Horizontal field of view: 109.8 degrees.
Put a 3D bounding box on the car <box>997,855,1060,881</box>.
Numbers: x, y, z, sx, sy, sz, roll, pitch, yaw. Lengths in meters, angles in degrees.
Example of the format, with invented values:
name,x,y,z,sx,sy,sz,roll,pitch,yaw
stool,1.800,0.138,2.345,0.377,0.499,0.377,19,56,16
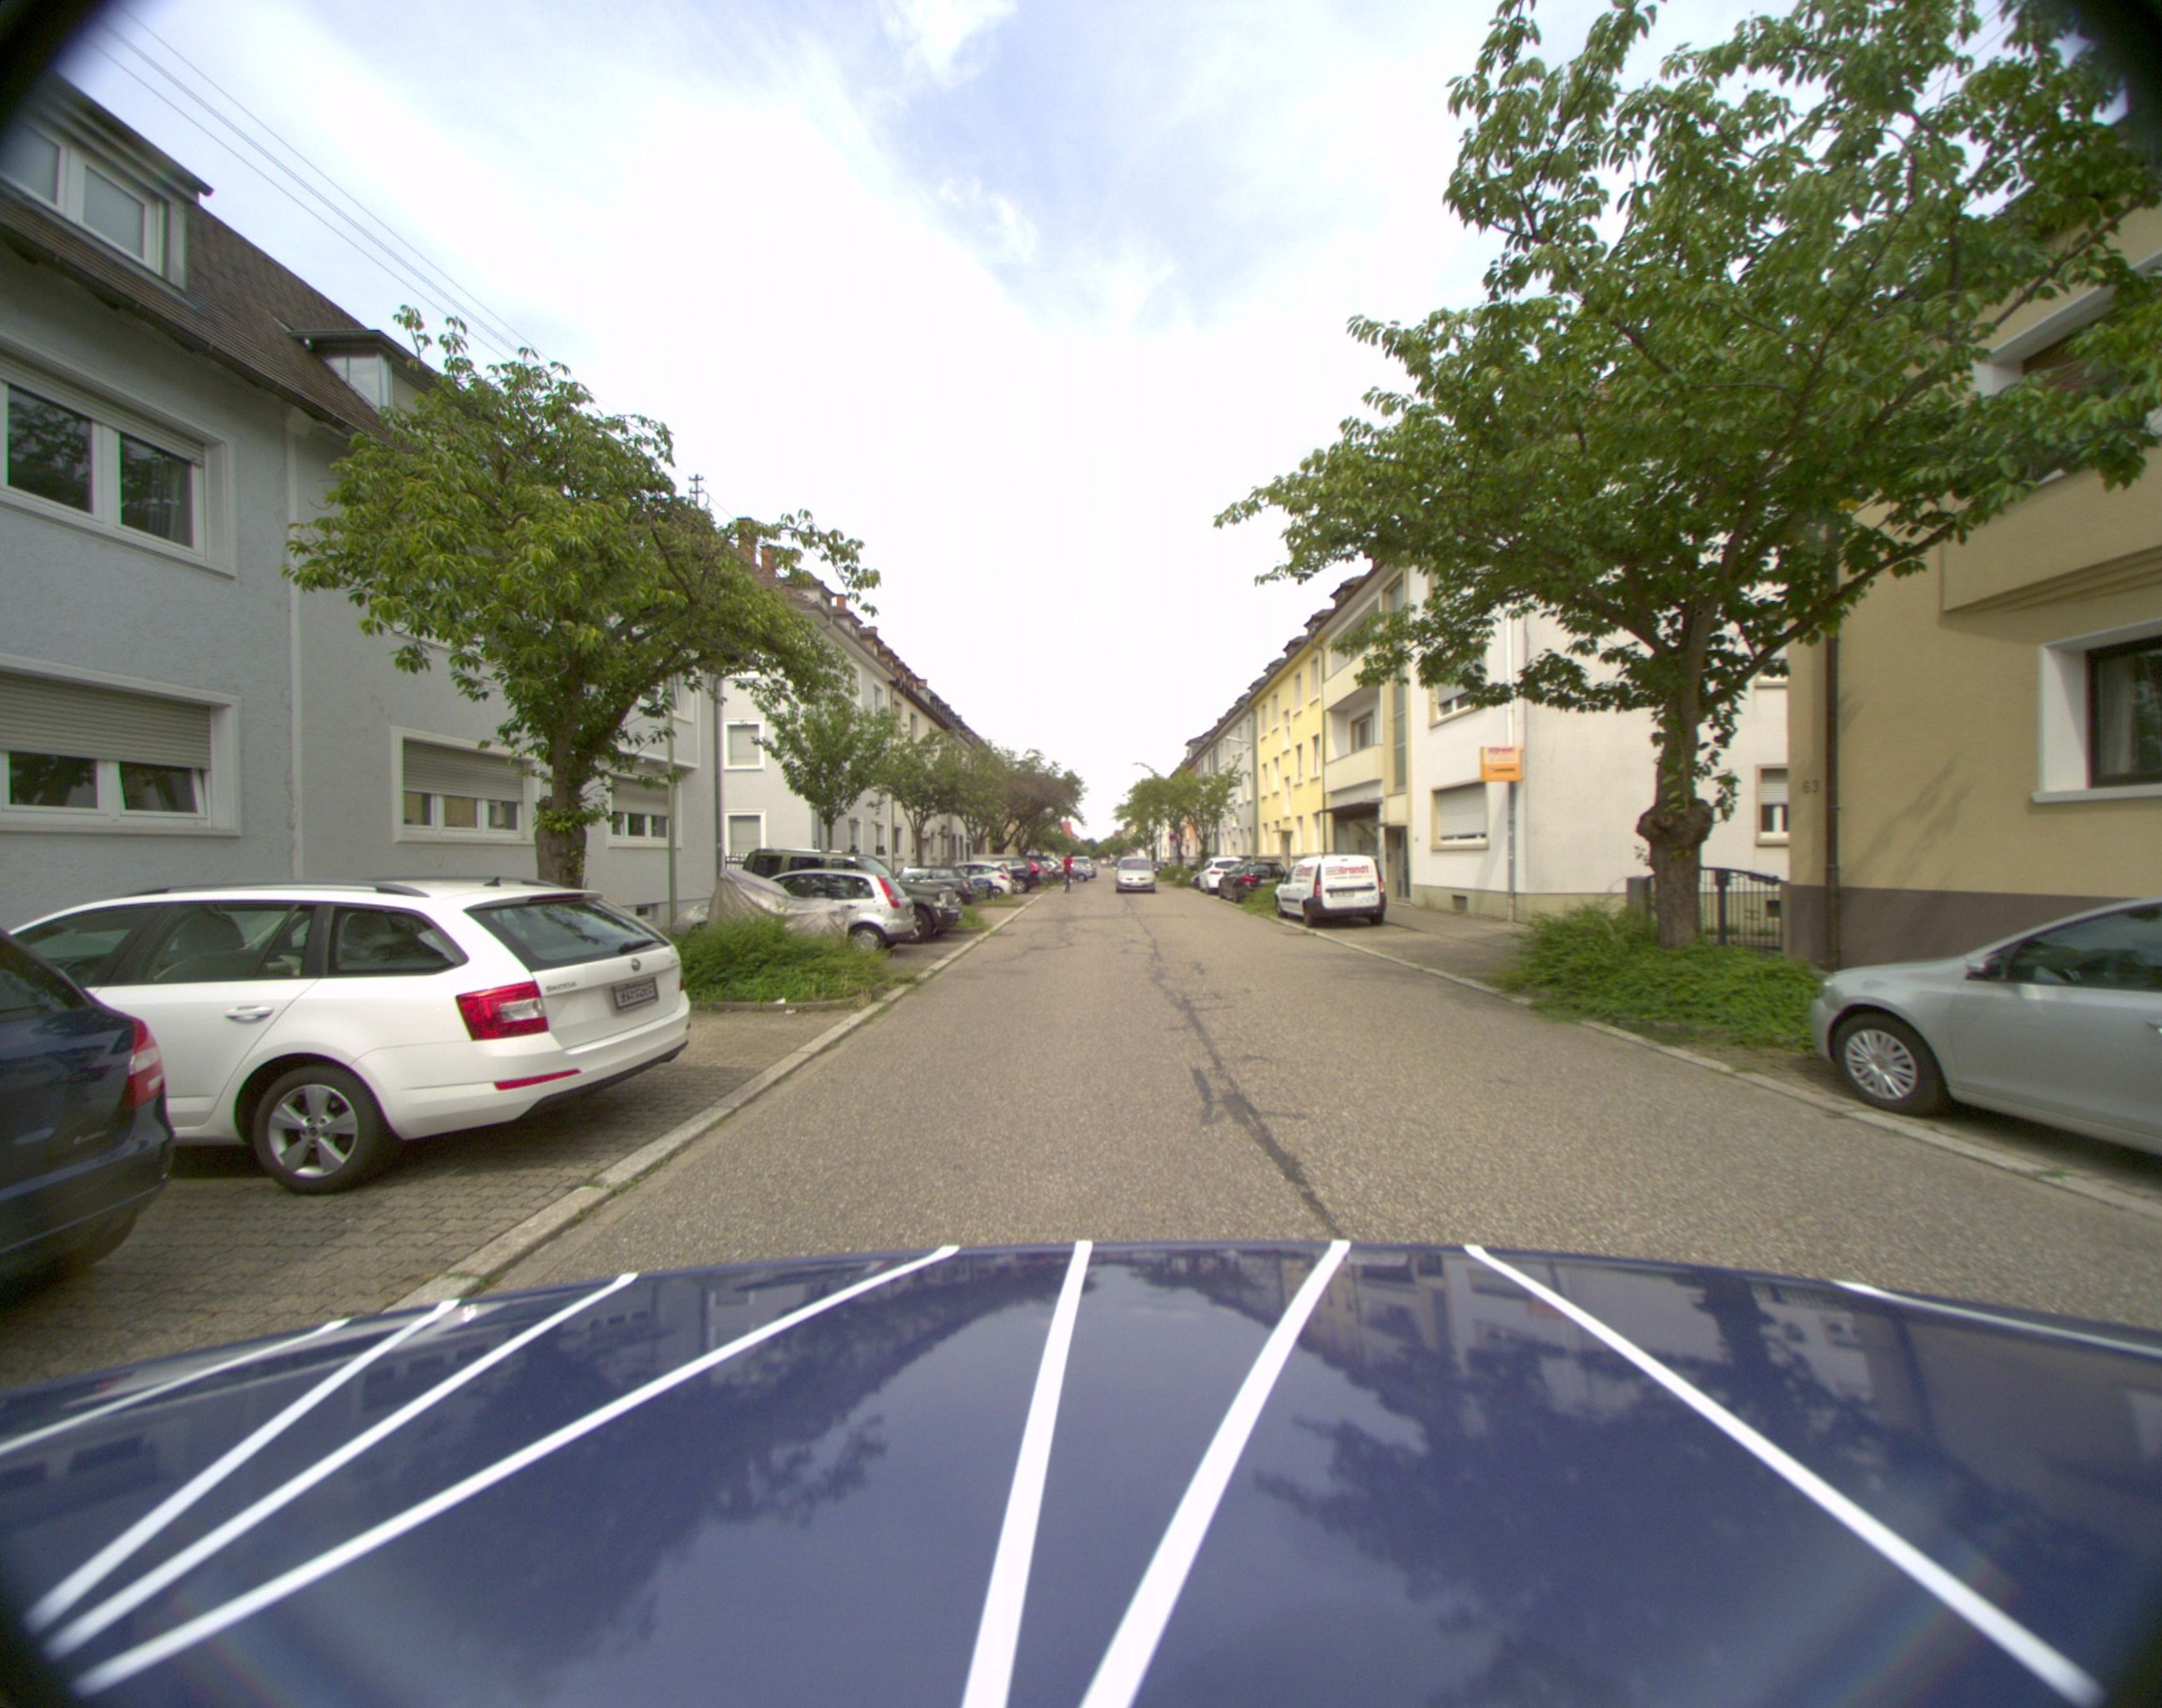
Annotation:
name,x,y,z,sx,sy,sz,roll,pitch,yaw
car,-3.678,0.979,53.700,4.224,1.668,1.904,1,0,4

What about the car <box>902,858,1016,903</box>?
name,x,y,z,sx,sy,sz,roll,pitch,yaw
car,-4.522,0.970,28.660,3.997,1.521,1.768,1,0,-2

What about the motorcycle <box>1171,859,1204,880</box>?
name,x,y,z,sx,sy,sz,roll,pitch,yaw
motorcycle,6.293,0.900,44.863,1.914,1.185,0.595,1,1,-25

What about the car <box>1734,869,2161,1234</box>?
name,x,y,z,sx,sy,sz,roll,pitch,yaw
car,5.582,0.894,3.318,1.776,1.384,4.275,-6,0,2

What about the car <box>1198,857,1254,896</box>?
name,x,y,z,sx,sy,sz,roll,pitch,yaw
car,6.298,0.932,33.410,1.761,1.547,4.256,0,0,1

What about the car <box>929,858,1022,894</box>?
name,x,y,z,sx,sy,sz,roll,pitch,yaw
car,-4.584,0.961,33.407,3.756,1.433,1.865,1,0,2

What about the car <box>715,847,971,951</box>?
name,x,y,z,sx,sy,sz,roll,pitch,yaw
car,-4.657,0.832,15.255,4.535,1.847,1.793,1,0,4

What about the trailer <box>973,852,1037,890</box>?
name,x,y,z,sx,sy,sz,roll,pitch,yaw
trailer,-3.805,0.852,38.364,2.967,1.821,1.401,1,1,5

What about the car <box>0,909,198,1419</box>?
name,x,y,z,sx,sy,sz,roll,pitch,yaw
car,-5.287,0.927,1.997,3.996,1.499,1.712,1,0,1

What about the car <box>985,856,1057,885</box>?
name,x,y,z,sx,sy,sz,roll,pitch,yaw
car,-3.634,0.995,46.380,4.226,1.588,1.903,1,0,-1

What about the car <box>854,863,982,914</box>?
name,x,y,z,sx,sy,sz,roll,pitch,yaw
car,-5.022,1.051,23.731,3.552,1.444,1.809,1,0,1

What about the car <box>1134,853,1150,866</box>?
name,x,y,z,sx,sy,sz,roll,pitch,yaw
car,7.982,0.731,99.866,1.697,1.573,4.249,-1,0,0

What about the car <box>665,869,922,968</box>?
name,x,y,z,sx,sy,sz,roll,pitch,yaw
car,-4.684,1.036,12.798,3.635,1.446,1.772,1,0,-3

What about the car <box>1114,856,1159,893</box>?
name,x,y,z,sx,sy,sz,roll,pitch,yaw
car,2.514,0.889,35.193,1.788,1.595,4.836,-1,0,1

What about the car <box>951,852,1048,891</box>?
name,x,y,z,sx,sy,sz,roll,pitch,yaw
car,-3.786,0.796,35.727,4.224,1.725,1.904,1,0,4

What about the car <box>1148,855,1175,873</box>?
name,x,y,z,sx,sy,sz,roll,pitch,yaw
car,7.144,0.877,67.829,1.841,1.475,4.120,-3,0,-1

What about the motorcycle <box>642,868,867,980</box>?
name,x,y,z,sx,sy,sz,roll,pitch,yaw
motorcycle,-4.534,0.953,10.737,2.708,1.455,1.031,0,0,-2

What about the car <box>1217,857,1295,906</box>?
name,x,y,z,sx,sy,sz,roll,pitch,yaw
car,6.089,0.894,26.956,1.795,1.483,4.812,-1,1,2

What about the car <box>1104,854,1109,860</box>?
name,x,y,z,sx,sy,sz,roll,pitch,yaw
car,8.674,0.917,256.796,1.757,2.098,3.621,1,0,1

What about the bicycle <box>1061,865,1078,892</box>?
name,x,y,z,sx,sy,sz,roll,pitch,yaw
bicycle,-0.546,1.155,36.132,0.693,1.220,1.937,-1,0,1

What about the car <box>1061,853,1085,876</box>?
name,x,y,z,sx,sy,sz,roll,pitch,yaw
car,-0.704,0.926,67.579,1.999,1.903,4.703,-2,0,-1

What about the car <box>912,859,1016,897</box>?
name,x,y,z,sx,sy,sz,roll,pitch,yaw
car,-4.761,0.979,31.285,3.997,1.402,1.768,1,0,-2

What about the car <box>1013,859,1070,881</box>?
name,x,y,z,sx,sy,sz,roll,pitch,yaw
car,-2.874,1.172,55.860,3.997,1.446,1.766,1,0,1

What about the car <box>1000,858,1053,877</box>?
name,x,y,z,sx,sy,sz,roll,pitch,yaw
car,-4.340,1.096,60.869,3.997,1.411,1.639,1,-3,1

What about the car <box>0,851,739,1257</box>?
name,x,y,z,sx,sy,sz,roll,pitch,yaw
car,-4.692,0.863,4.314,4.625,1.654,1.893,1,0,2

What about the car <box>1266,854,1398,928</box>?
name,x,y,z,sx,sy,sz,roll,pitch,yaw
car,6.051,0.819,18.878,1.923,1.572,4.382,1,0,2

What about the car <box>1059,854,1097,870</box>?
name,x,y,z,sx,sy,sz,roll,pitch,yaw
car,-0.376,1.021,96.247,4.750,1.899,1.850,1,0,1

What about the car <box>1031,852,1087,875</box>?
name,x,y,z,sx,sy,sz,roll,pitch,yaw
car,-2.117,0.914,72.740,5.244,2.011,2.073,1,0,-3

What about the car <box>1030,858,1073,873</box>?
name,x,y,z,sx,sy,sz,roll,pitch,yaw
car,-3.171,1.255,82.022,4.559,1.501,1.850,1,0,-1

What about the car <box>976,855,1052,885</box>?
name,x,y,z,sx,sy,sz,roll,pitch,yaw
car,-3.806,0.927,43.691,4.226,1.588,1.903,1,0,-1

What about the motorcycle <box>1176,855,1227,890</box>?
name,x,y,z,sx,sy,sz,roll,pitch,yaw
motorcycle,5.954,0.886,37.637,0.941,1.666,2.467,0,-1,-42

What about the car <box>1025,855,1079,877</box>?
name,x,y,z,sx,sy,sz,roll,pitch,yaw
car,-2.219,0.925,58.190,3.997,1.527,1.638,1,0,1

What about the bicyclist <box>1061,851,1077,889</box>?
name,x,y,z,sx,sy,sz,roll,pitch,yaw
bicyclist,-0.554,0.755,36.092,0.694,1.760,0.986,-1,1,1
